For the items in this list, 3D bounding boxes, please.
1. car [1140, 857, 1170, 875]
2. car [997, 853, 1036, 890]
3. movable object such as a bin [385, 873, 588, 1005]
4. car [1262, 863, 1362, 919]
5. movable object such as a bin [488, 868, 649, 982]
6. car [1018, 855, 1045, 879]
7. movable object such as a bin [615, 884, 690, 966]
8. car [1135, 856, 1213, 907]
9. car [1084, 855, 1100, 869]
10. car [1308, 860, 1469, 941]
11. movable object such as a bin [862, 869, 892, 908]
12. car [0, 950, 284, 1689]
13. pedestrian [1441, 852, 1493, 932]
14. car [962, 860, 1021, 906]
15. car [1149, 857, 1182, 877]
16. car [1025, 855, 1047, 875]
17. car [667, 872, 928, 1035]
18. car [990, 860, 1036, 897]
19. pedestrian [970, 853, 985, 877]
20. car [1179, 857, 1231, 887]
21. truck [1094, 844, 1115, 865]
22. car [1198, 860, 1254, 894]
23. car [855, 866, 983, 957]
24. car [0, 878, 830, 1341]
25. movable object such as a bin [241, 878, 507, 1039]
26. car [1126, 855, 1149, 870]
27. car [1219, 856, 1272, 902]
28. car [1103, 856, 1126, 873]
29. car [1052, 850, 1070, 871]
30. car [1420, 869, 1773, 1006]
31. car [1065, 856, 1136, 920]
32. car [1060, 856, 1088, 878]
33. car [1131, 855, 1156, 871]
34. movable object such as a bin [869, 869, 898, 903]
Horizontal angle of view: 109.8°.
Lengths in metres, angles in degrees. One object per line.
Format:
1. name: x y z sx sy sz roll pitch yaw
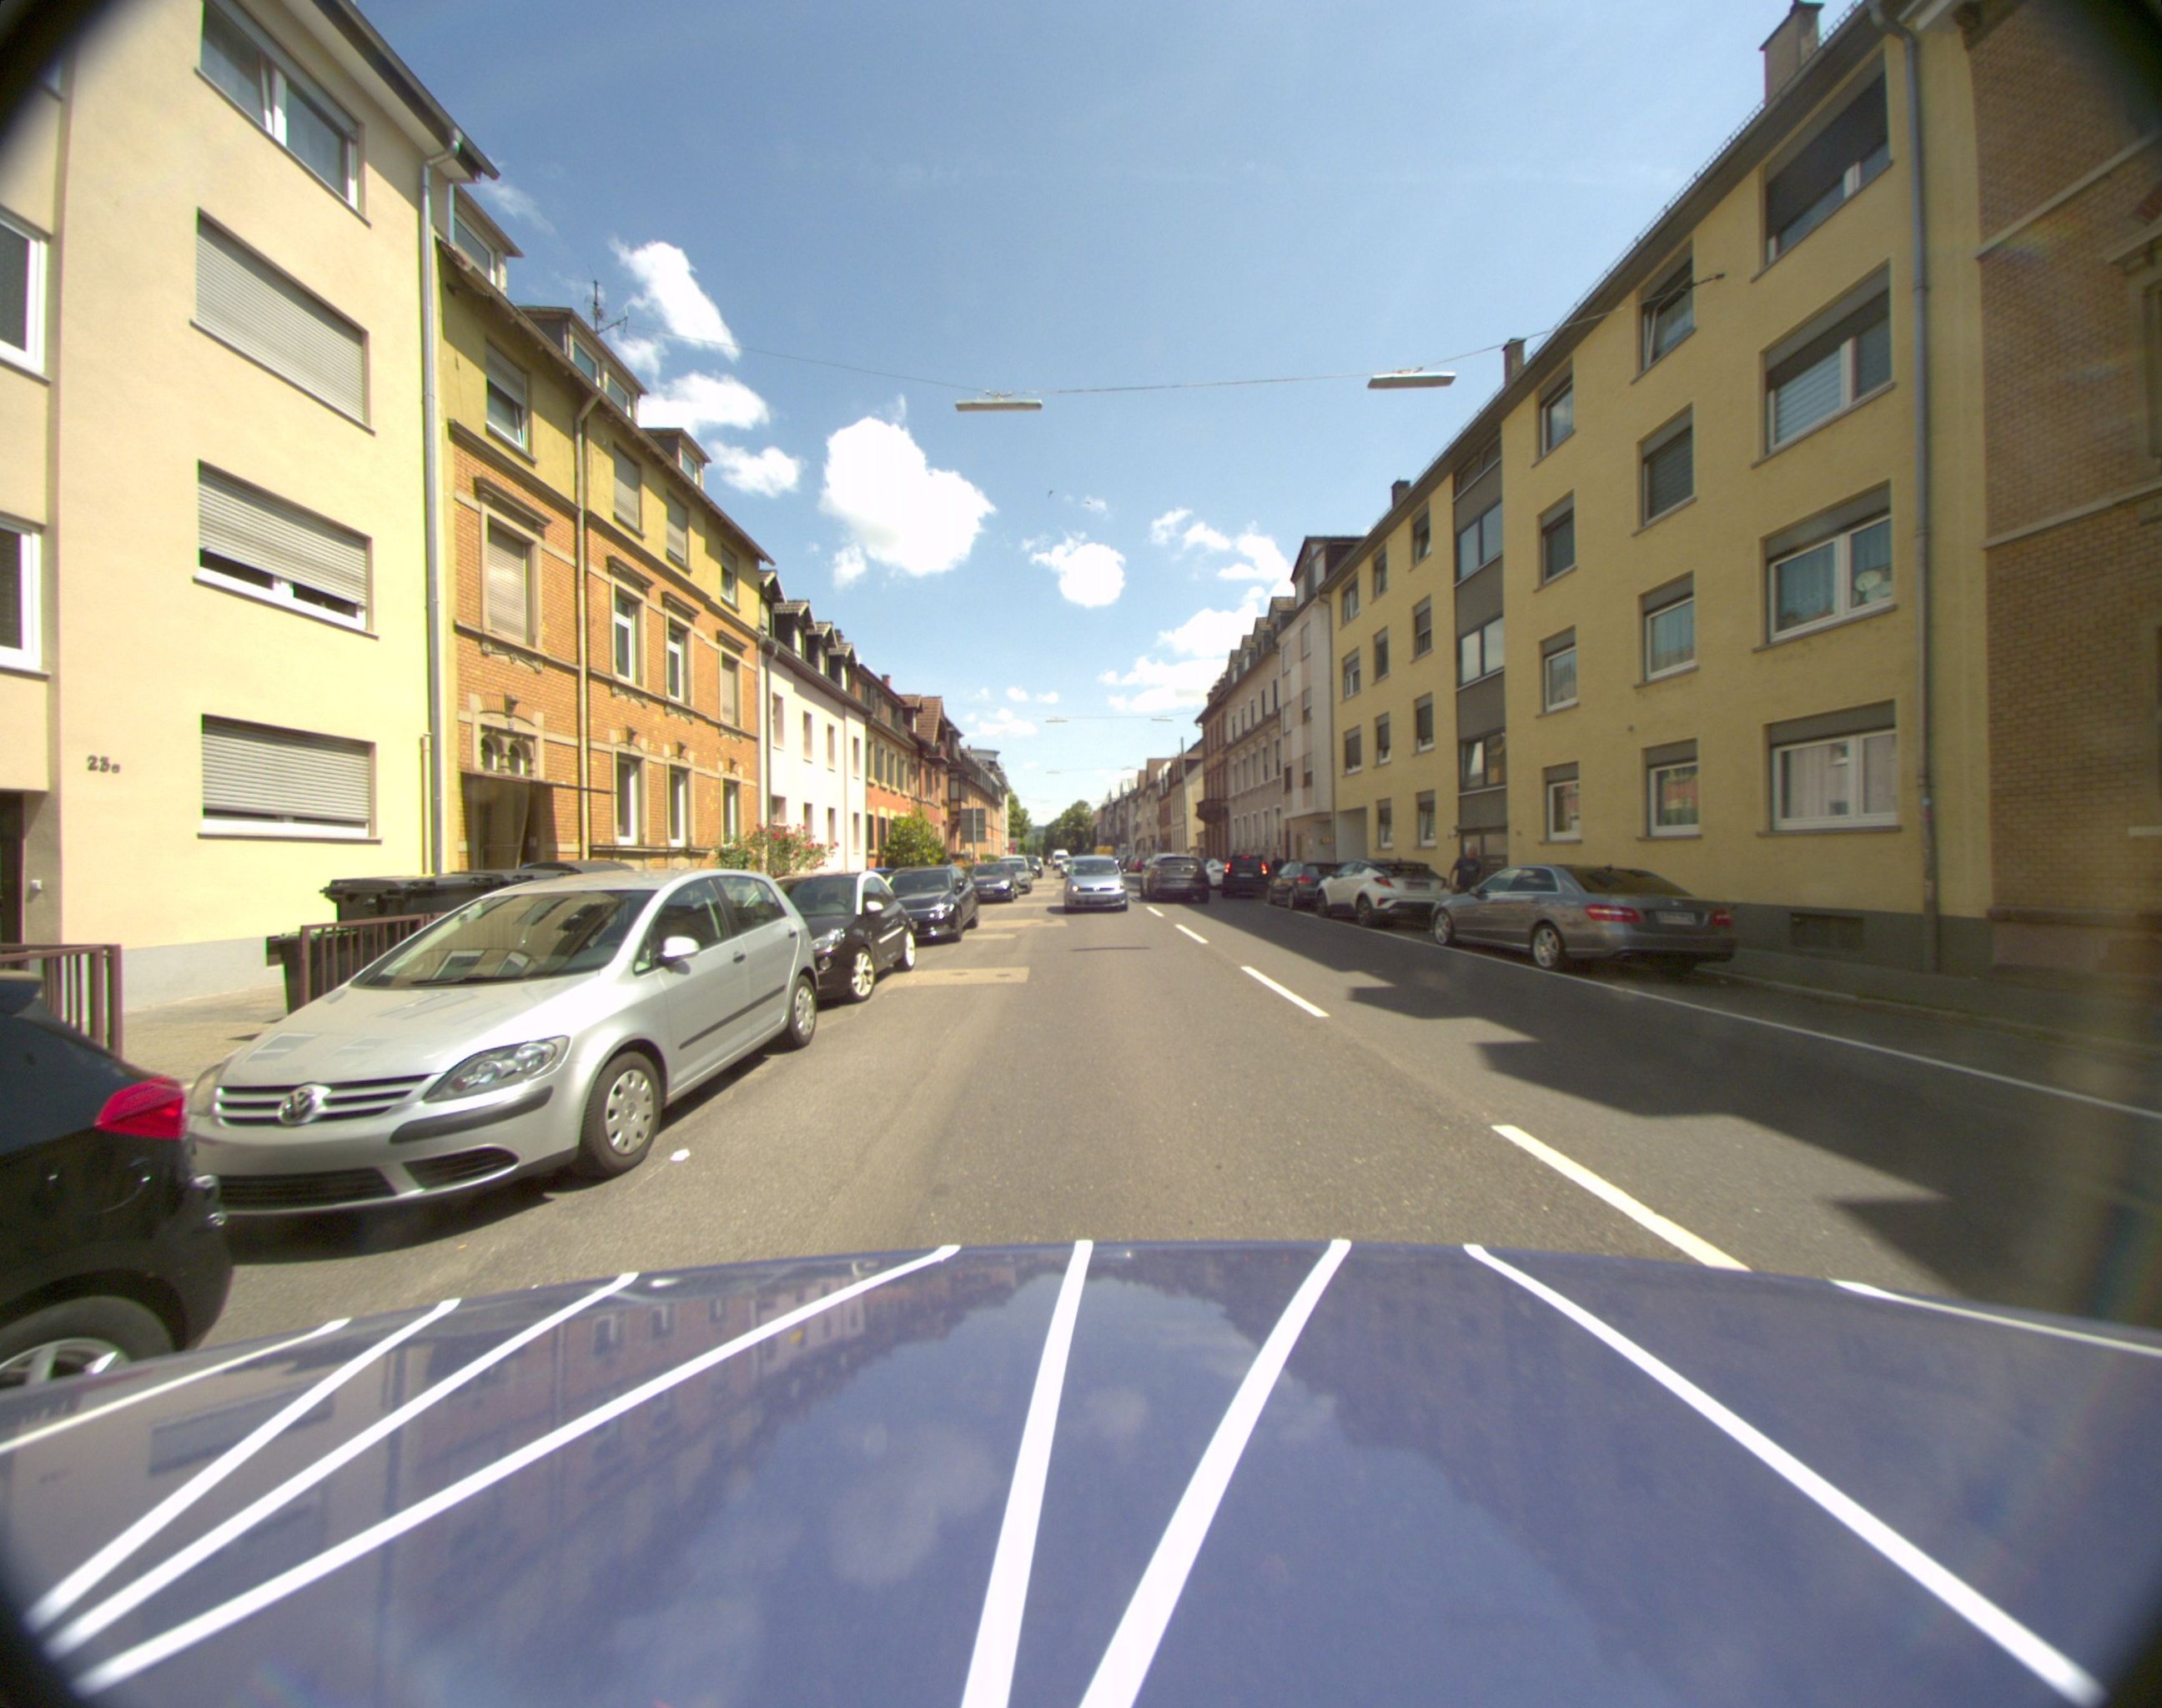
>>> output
1. car: 6.197 1.009 64.076 1.750 1.402 4.102 2 0 -4
2. car: -3.298 0.872 39.625 1.709 1.700 3.930 -3 0 -1
3. movable object such as a bin: -6.894 0.938 8.927 1.285 1.388 1.364 -1 0 0
4. car: 6.763 1.030 22.653 1.749 1.402 3.915 2 0 0
5. movable object such as a bin: -6.876 0.914 10.297 1.285 1.402 1.305 -1 0 0
6. car: -3.645 0.930 56.547 1.709 1.618 3.930 -3 0 -1
7. movable object such as a bin: -6.573 1.071 11.685 0.723 1.181 0.747 -1 0 -2
8. car: 3.062 0.856 25.926 1.913 1.601 4.445 0 0 -3
9. car: 1.310 0.937 91.414 1.810 1.522 4.000 1 0 -1
10. car: 6.909 0.964 17.635 1.870 1.542 4.313 2 0 -1
11. movable object such as a bin: -6.636 1.122 24.758 0.753 1.234 0.877 -1 0 -2
12. car: -3.179 1.050 0.170 1.762 1.470 3.931 -3 0 0
13. pedestrian: 8.689 0.842 17.140 0.804 1.745 0.876 -1 0 7
14. car: -3.230 1.020 27.986 1.709 1.470 3.930 -3 0 -1
15. car: 6.420 0.951 58.365 1.750 1.402 4.102 2 0 -4
16. car: -3.871 0.961 66.117 1.709 1.618 3.930 -3 0 -1
17. car: -3.280 1.063 9.712 1.762 1.470 3.931 -3 0 0
18. car: -3.005 1.048 34.029 1.709 1.470 3.930 -3 0 -1
19. pedestrian: -8.244 0.882 60.632 1.056 1.851 0.981 -1 0 -1
20. car: 6.592 0.932 40.895 1.749 1.402 4.512 2 0 -3
21. truck: 3.098 0.034 102.775 2.324 2.724 8.067 -1 0 -2
22. car: 6.702 1.024 35.483 1.749 1.402 4.284 2 0 0
23. car: -3.174 1.057 15.794 1.762 1.470 4.418 -3 0 -2
24. car: -3.237 1.038 4.918 1.762 1.542 4.066 -3 0 0
25. movable object such as a bin: -6.864 0.959 7.511 1.285 1.388 1.413 -1 0 0
26. car: 5.624 0.807 75.915 1.665 1.402 4.102 2 0 -4
27. car: 6.387 0.926 29.170 1.747 1.579 3.958 3 0 15
28. car: 2.969 0.901 68.581 1.810 1.425 4.000 1 0 -1
29. car: -2.267 0.730 86.567 1.905 2.261 5.671 -1 0 -2
30. car: 7.052 1.021 11.192 1.910 1.443 4.685 2 0 -1
31. car: 0.486 0.872 21.295 1.759 1.559 4.000 -2 0 -1
32. car: -0.442 0.906 55.354 1.905 1.489 4.487 -1 0 1
33. car: 5.810 0.845 70.861 1.665 1.402 4.102 2 0 -4
34. movable object such as a bin: -6.659 1.080 25.619 0.753 1.091 0.877 -1 0 -2
